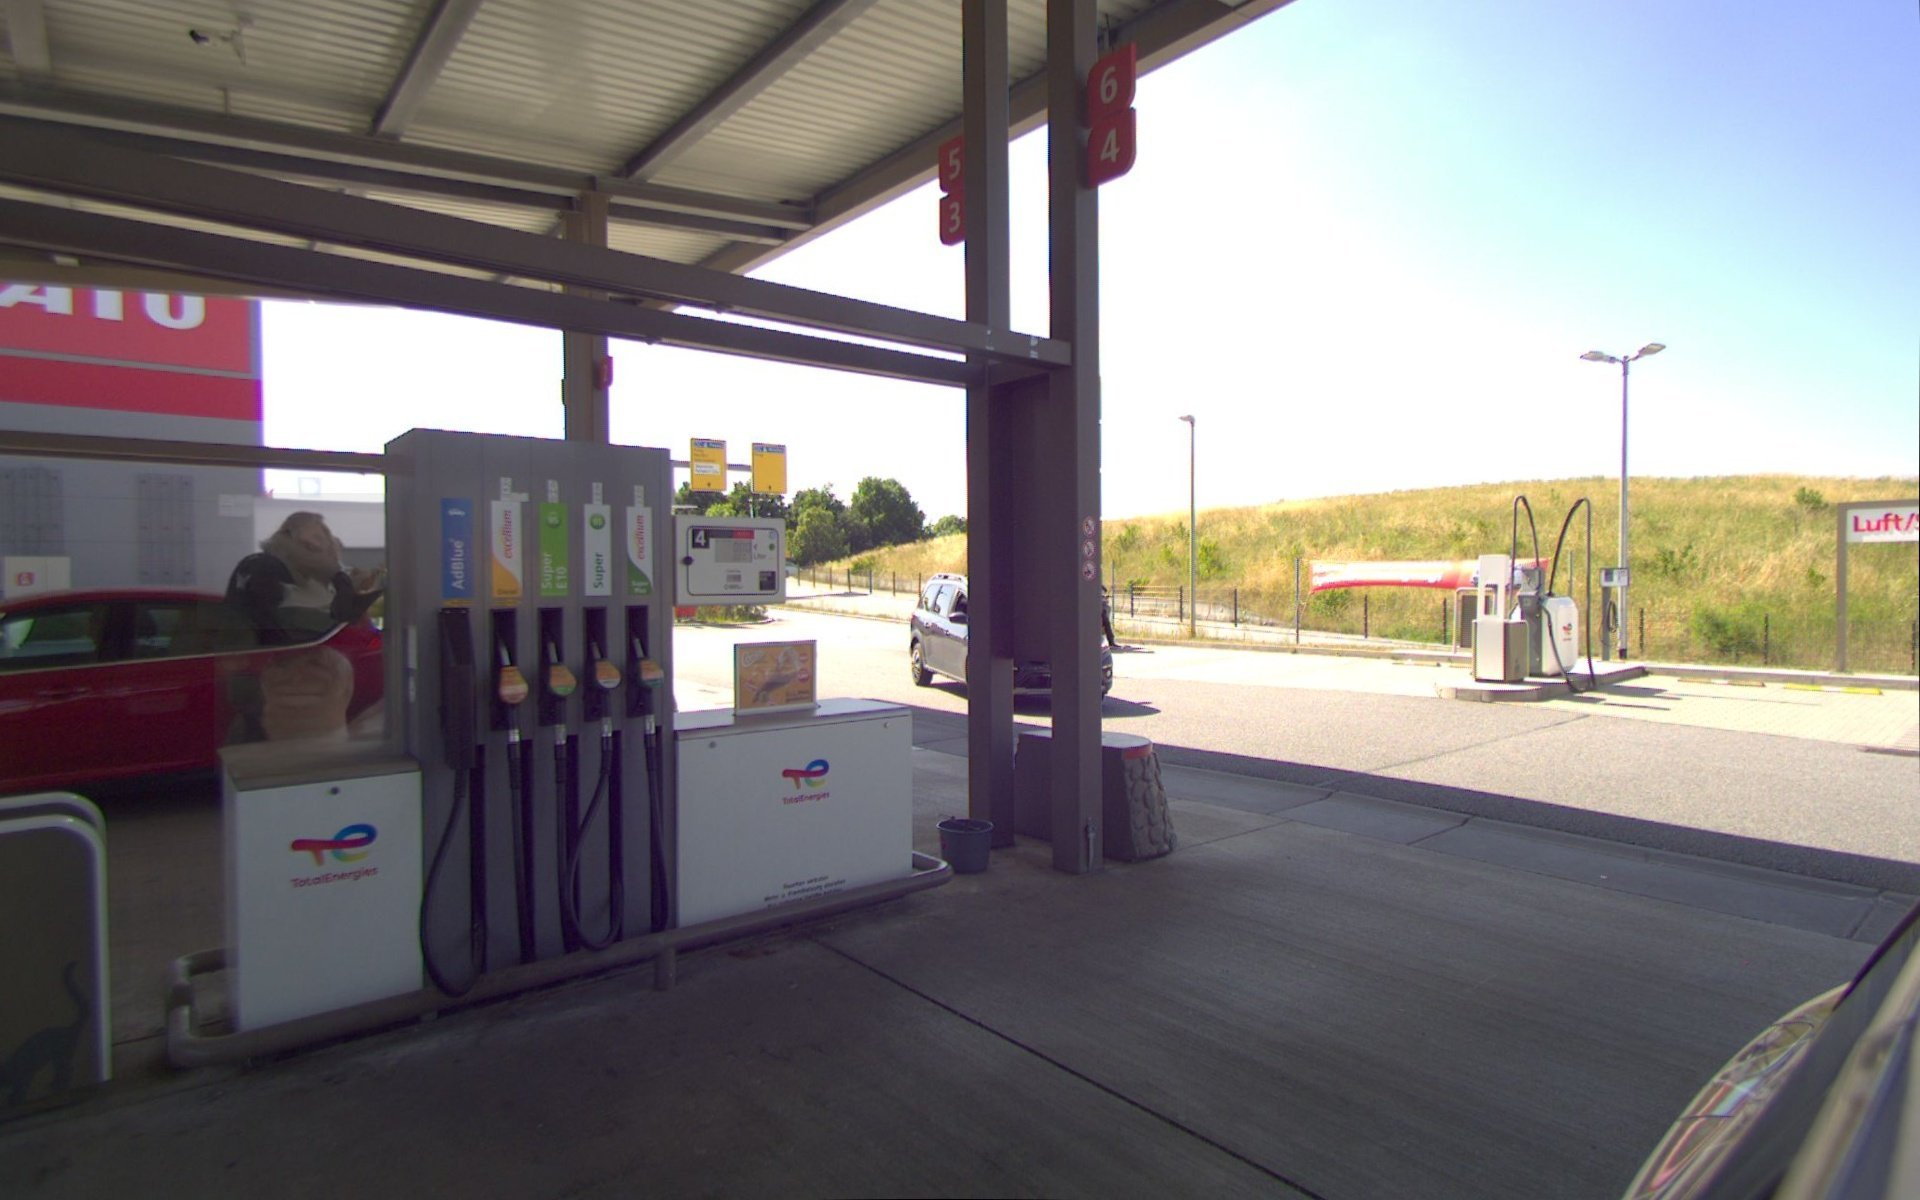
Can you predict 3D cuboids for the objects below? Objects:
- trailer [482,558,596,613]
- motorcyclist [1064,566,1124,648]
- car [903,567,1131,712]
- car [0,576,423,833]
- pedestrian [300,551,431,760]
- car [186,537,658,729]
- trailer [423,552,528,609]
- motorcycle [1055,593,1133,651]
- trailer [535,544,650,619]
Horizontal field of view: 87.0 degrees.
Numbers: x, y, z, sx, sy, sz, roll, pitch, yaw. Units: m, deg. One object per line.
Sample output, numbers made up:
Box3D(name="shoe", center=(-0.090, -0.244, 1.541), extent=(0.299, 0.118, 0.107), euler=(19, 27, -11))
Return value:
Box3D(name="trailer", center=(-16.323, -0.583, 39.428), extent=(1.784, 2.039, 3.966), euler=(0, 1, 25))
Box3D(name="motorcyclist", center=(2.925, 0.130, 22.047), extent=(1.024, 1.709, 1.089), euler=(1, 1, 25))
Box3D(name="car", center=(0.569, 0.406, 14.092), extent=(1.707, 1.665, 4.642), euler=(0, 1, -17))
Box3D(name="car", center=(-5.996, 0.590, 6.604), extent=(4.158, 1.487, 1.702), euler=(-1, 1, -41))
Box3D(name="pedestrian", center=(-5.232, 0.447, 8.909), extent=(0.911, 1.724, 0.703), euler=(0, 1, -39))
Box3D(name="car", center=(-6.327, 0.316, 12.219), extent=(4.713, 1.874, 2.032), euler=(0, 1, -40))
Box3D(name="trailer", center=(-21.652, -0.884, 45.376), extent=(1.977, 2.457, 3.970), euler=(1, 1, 22))
Box3D(name="motorcycle", center=(2.955, 0.439, 22.118), extent=(1.035, 1.119, 2.396), euler=(1, 2, 25))
Box3D(name="trailer", center=(-12.700, -0.670, 35.244), extent=(1.969, 2.457, 3.986), euler=(0, 1, 12))
